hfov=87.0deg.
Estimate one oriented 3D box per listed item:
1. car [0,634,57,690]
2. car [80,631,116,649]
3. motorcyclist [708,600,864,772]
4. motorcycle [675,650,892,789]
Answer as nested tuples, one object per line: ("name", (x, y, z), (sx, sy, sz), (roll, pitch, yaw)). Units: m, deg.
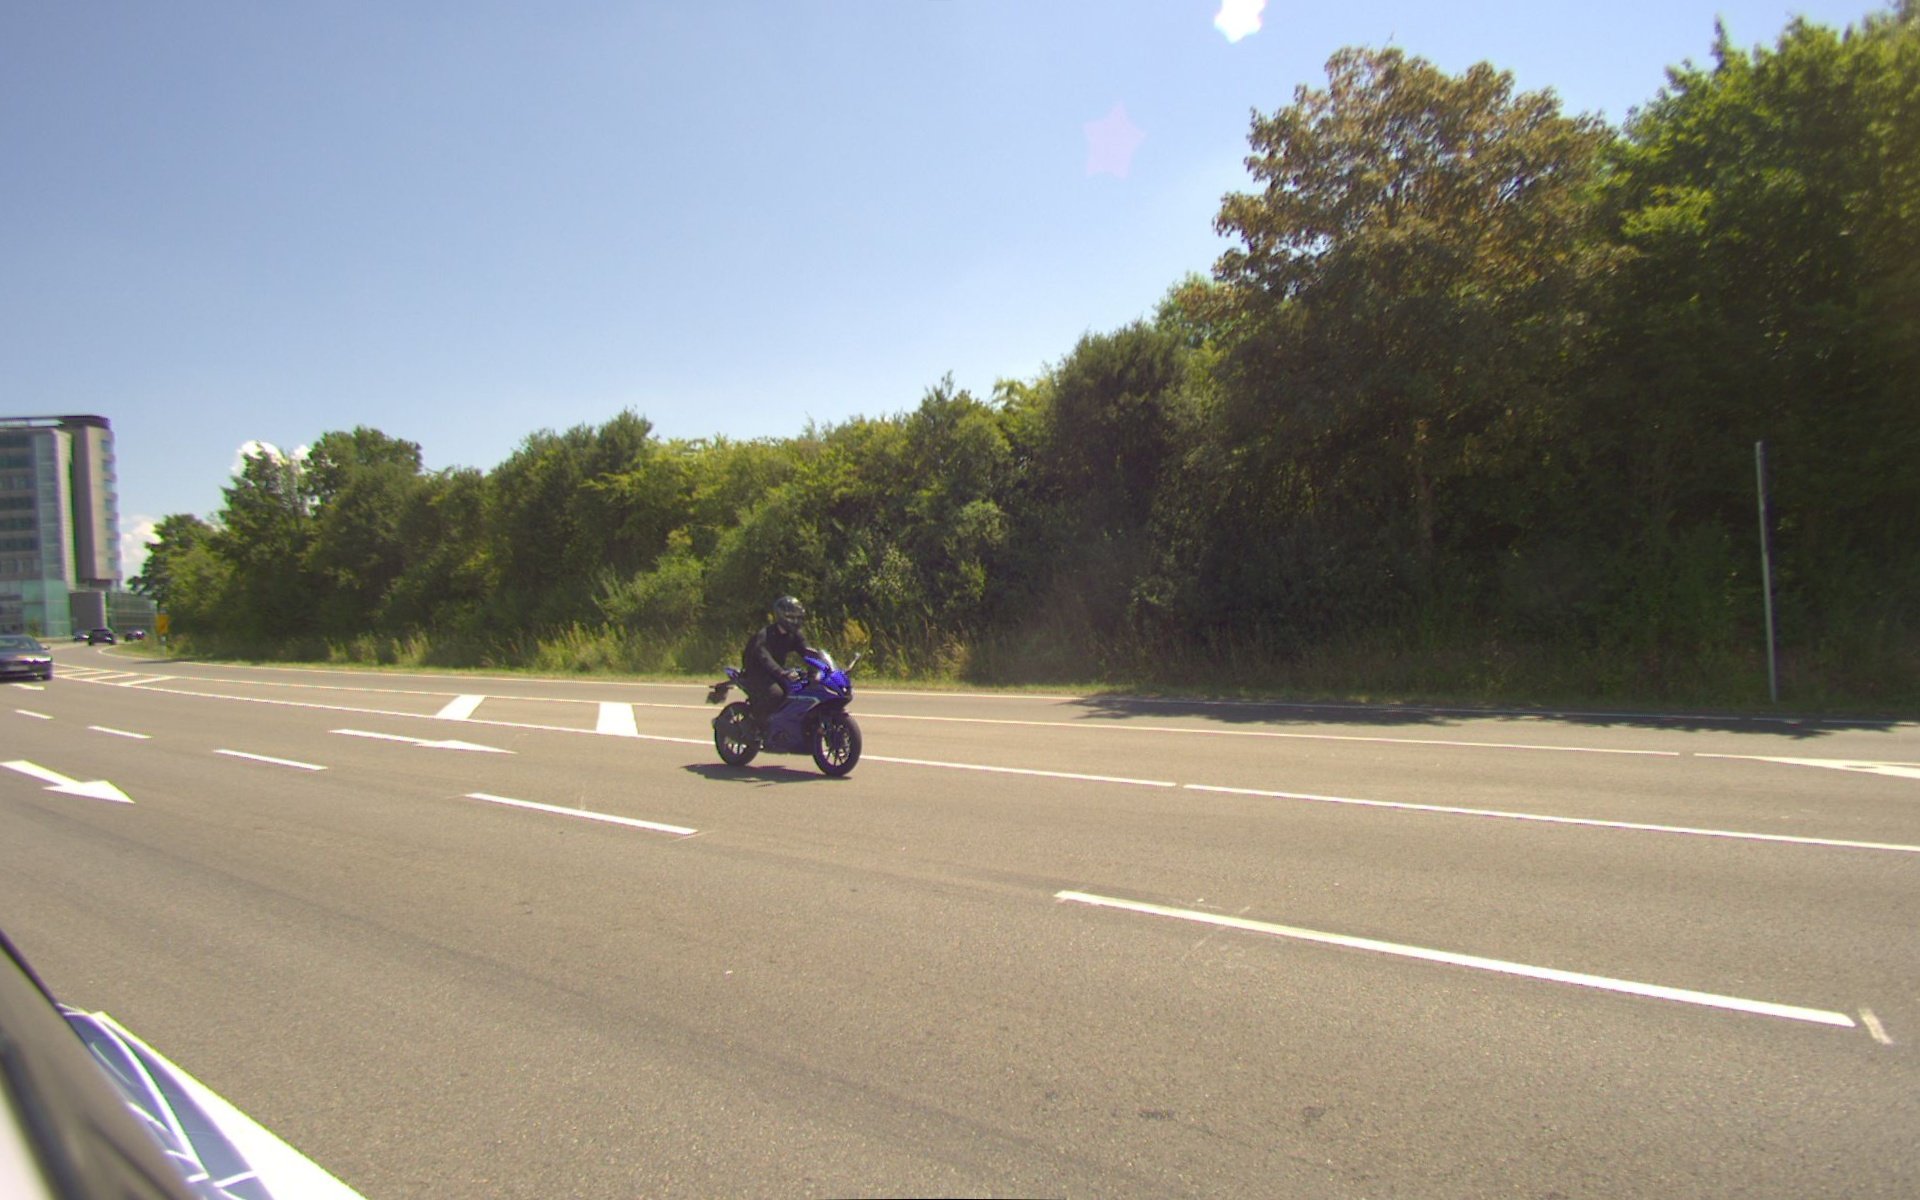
("car", (-30.198, 1.962, 32.131), (2.088, 1.603, 4.454), (-2, 0, -44))
("car", (-81.312, 3.745, 95.472), (1.966, 1.605, 4.695), (-1, -1, -33))
("motorcyclist", (-1.631, 0.769, 9.478), (1.158, 1.500, 0.851), (-3, -2, 34))
("motorcycle", (-1.681, 1.066, 9.471), (2.067, 1.147, 0.726), (-3, -2, 34))
